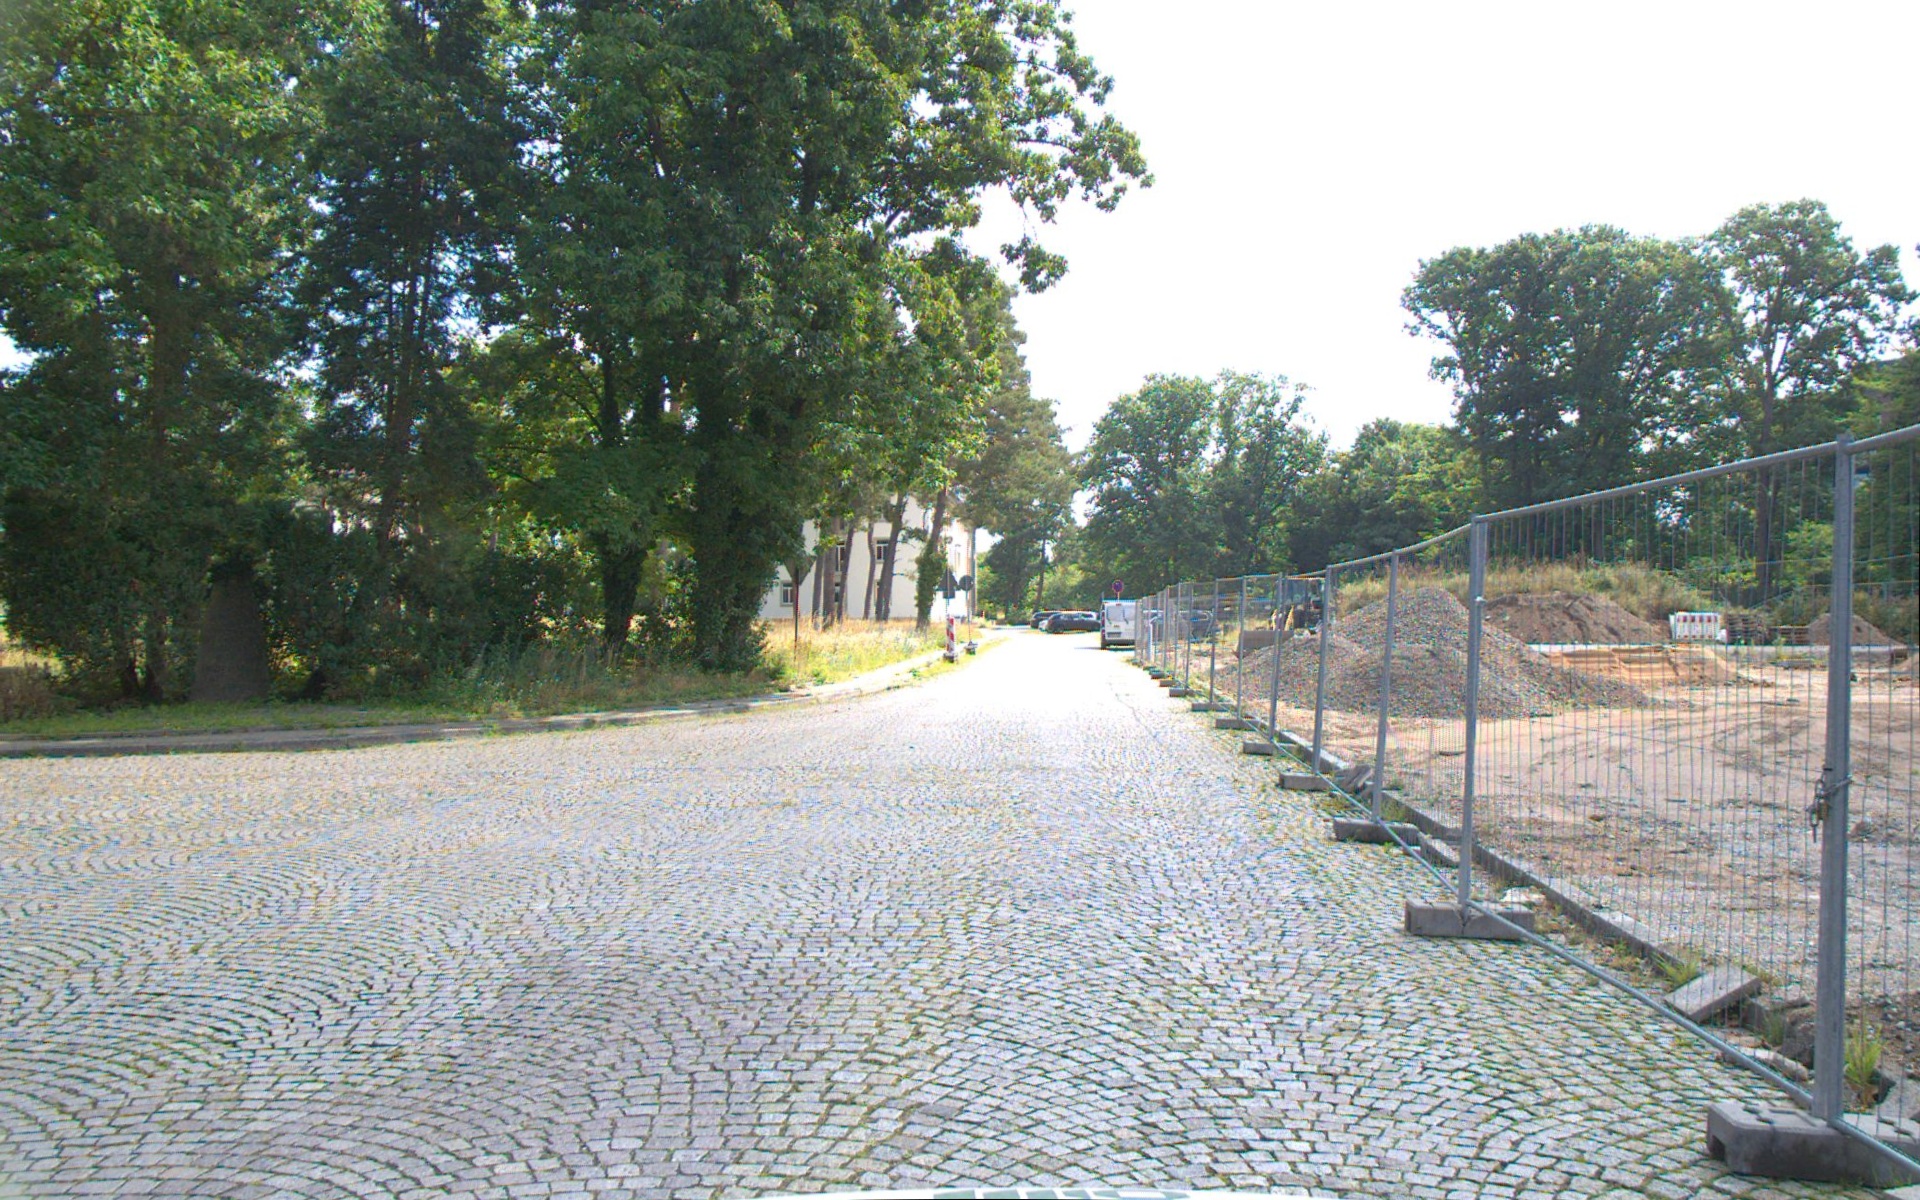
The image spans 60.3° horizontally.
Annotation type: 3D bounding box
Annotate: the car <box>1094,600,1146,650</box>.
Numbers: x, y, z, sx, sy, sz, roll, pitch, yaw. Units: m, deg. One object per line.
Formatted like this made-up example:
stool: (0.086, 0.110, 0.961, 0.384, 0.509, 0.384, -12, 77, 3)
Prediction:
car: (6.766, 1.070, 70.386, 1.952, 2.049, 4.092, 0, -1, 2)

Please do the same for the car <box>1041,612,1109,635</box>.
car: (8.244, 1.689, 118.592, 4.684, 1.669, 1.999, 0, -1, -2)

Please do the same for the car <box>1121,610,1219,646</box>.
car: (9.698, 1.282, 76.173, 4.308, 1.537, 2.002, 1, -1, 11)

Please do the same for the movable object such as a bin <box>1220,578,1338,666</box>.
movable object such as a bin: (10.099, 0.681, 52.122, 2.090, 2.639, 4.779, 0, -1, 32)

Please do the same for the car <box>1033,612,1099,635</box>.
car: (7.788, 1.711, 121.706, 4.684, 1.669, 1.999, 0, -1, -2)
